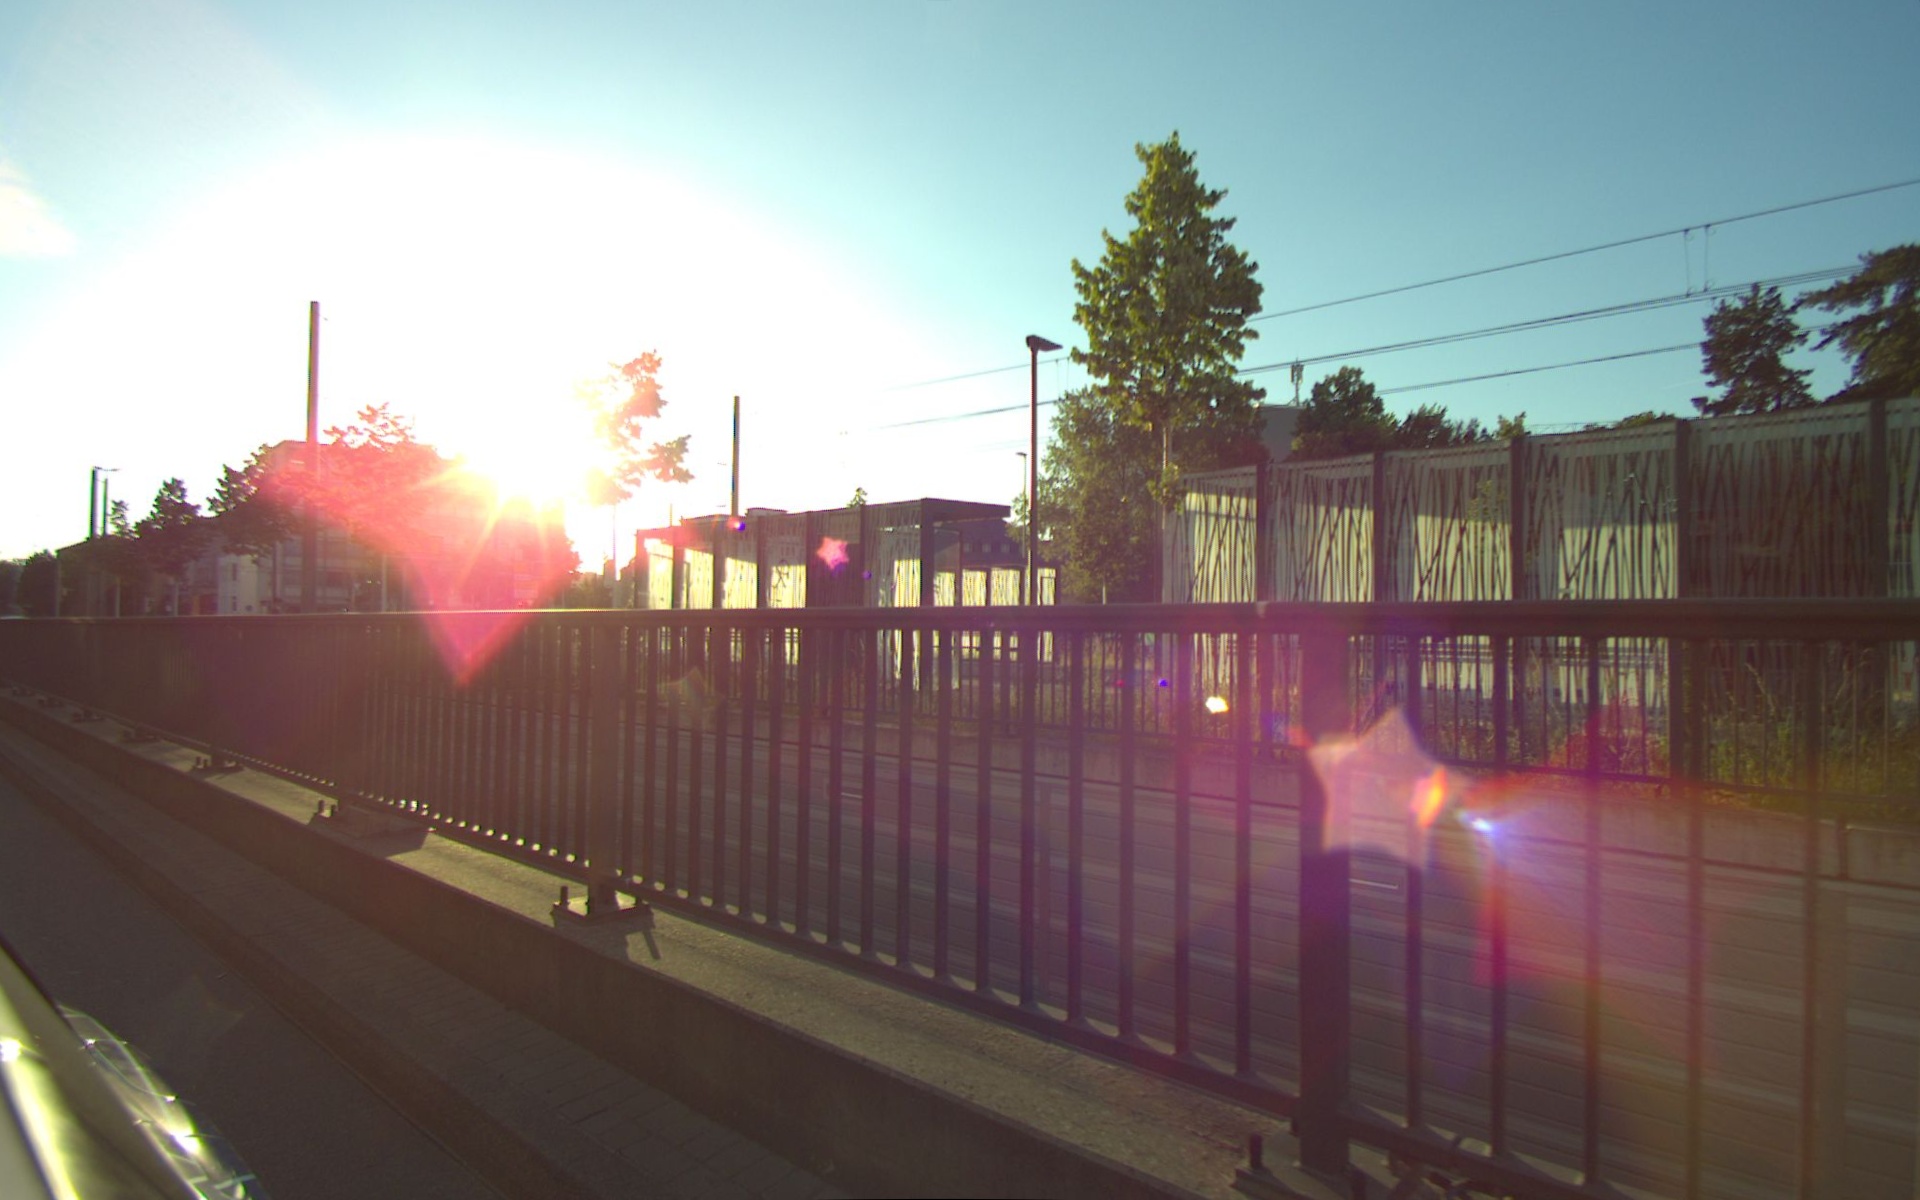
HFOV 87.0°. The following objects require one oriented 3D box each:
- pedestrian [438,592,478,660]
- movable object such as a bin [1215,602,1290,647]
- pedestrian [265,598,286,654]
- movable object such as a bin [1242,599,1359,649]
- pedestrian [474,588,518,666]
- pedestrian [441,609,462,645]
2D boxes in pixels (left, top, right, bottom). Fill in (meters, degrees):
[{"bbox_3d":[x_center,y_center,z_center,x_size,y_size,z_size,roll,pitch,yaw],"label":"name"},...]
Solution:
[{"bbox_3d":[-13.111,0.677,26.416,0.634,1.758,0.719,-2,-2,33],"label":"pedestrian"},{"bbox_3d":[18.154,1.530,62.897,4.000,2.727,1.971,-1,-2,43],"label":"movable object such as a bin"},{"bbox_3d":[-22.316,0.847,33.009,0.465,1.800,0.627,1,-2,-42],"label":"pedestrian"},{"bbox_3d":[16.255,1.134,48.488,4.940,2.263,1.971,-1,-2,43],"label":"movable object such as a bin"},{"bbox_3d":[-10.510,0.612,22.917,0.633,1.742,0.630,-1,-2,29],"label":"pedestrian"},{"bbox_3d":[-25.740,1.382,51.205,0.817,1.812,0.686,-1,-2,43],"label":"pedestrian"}]
